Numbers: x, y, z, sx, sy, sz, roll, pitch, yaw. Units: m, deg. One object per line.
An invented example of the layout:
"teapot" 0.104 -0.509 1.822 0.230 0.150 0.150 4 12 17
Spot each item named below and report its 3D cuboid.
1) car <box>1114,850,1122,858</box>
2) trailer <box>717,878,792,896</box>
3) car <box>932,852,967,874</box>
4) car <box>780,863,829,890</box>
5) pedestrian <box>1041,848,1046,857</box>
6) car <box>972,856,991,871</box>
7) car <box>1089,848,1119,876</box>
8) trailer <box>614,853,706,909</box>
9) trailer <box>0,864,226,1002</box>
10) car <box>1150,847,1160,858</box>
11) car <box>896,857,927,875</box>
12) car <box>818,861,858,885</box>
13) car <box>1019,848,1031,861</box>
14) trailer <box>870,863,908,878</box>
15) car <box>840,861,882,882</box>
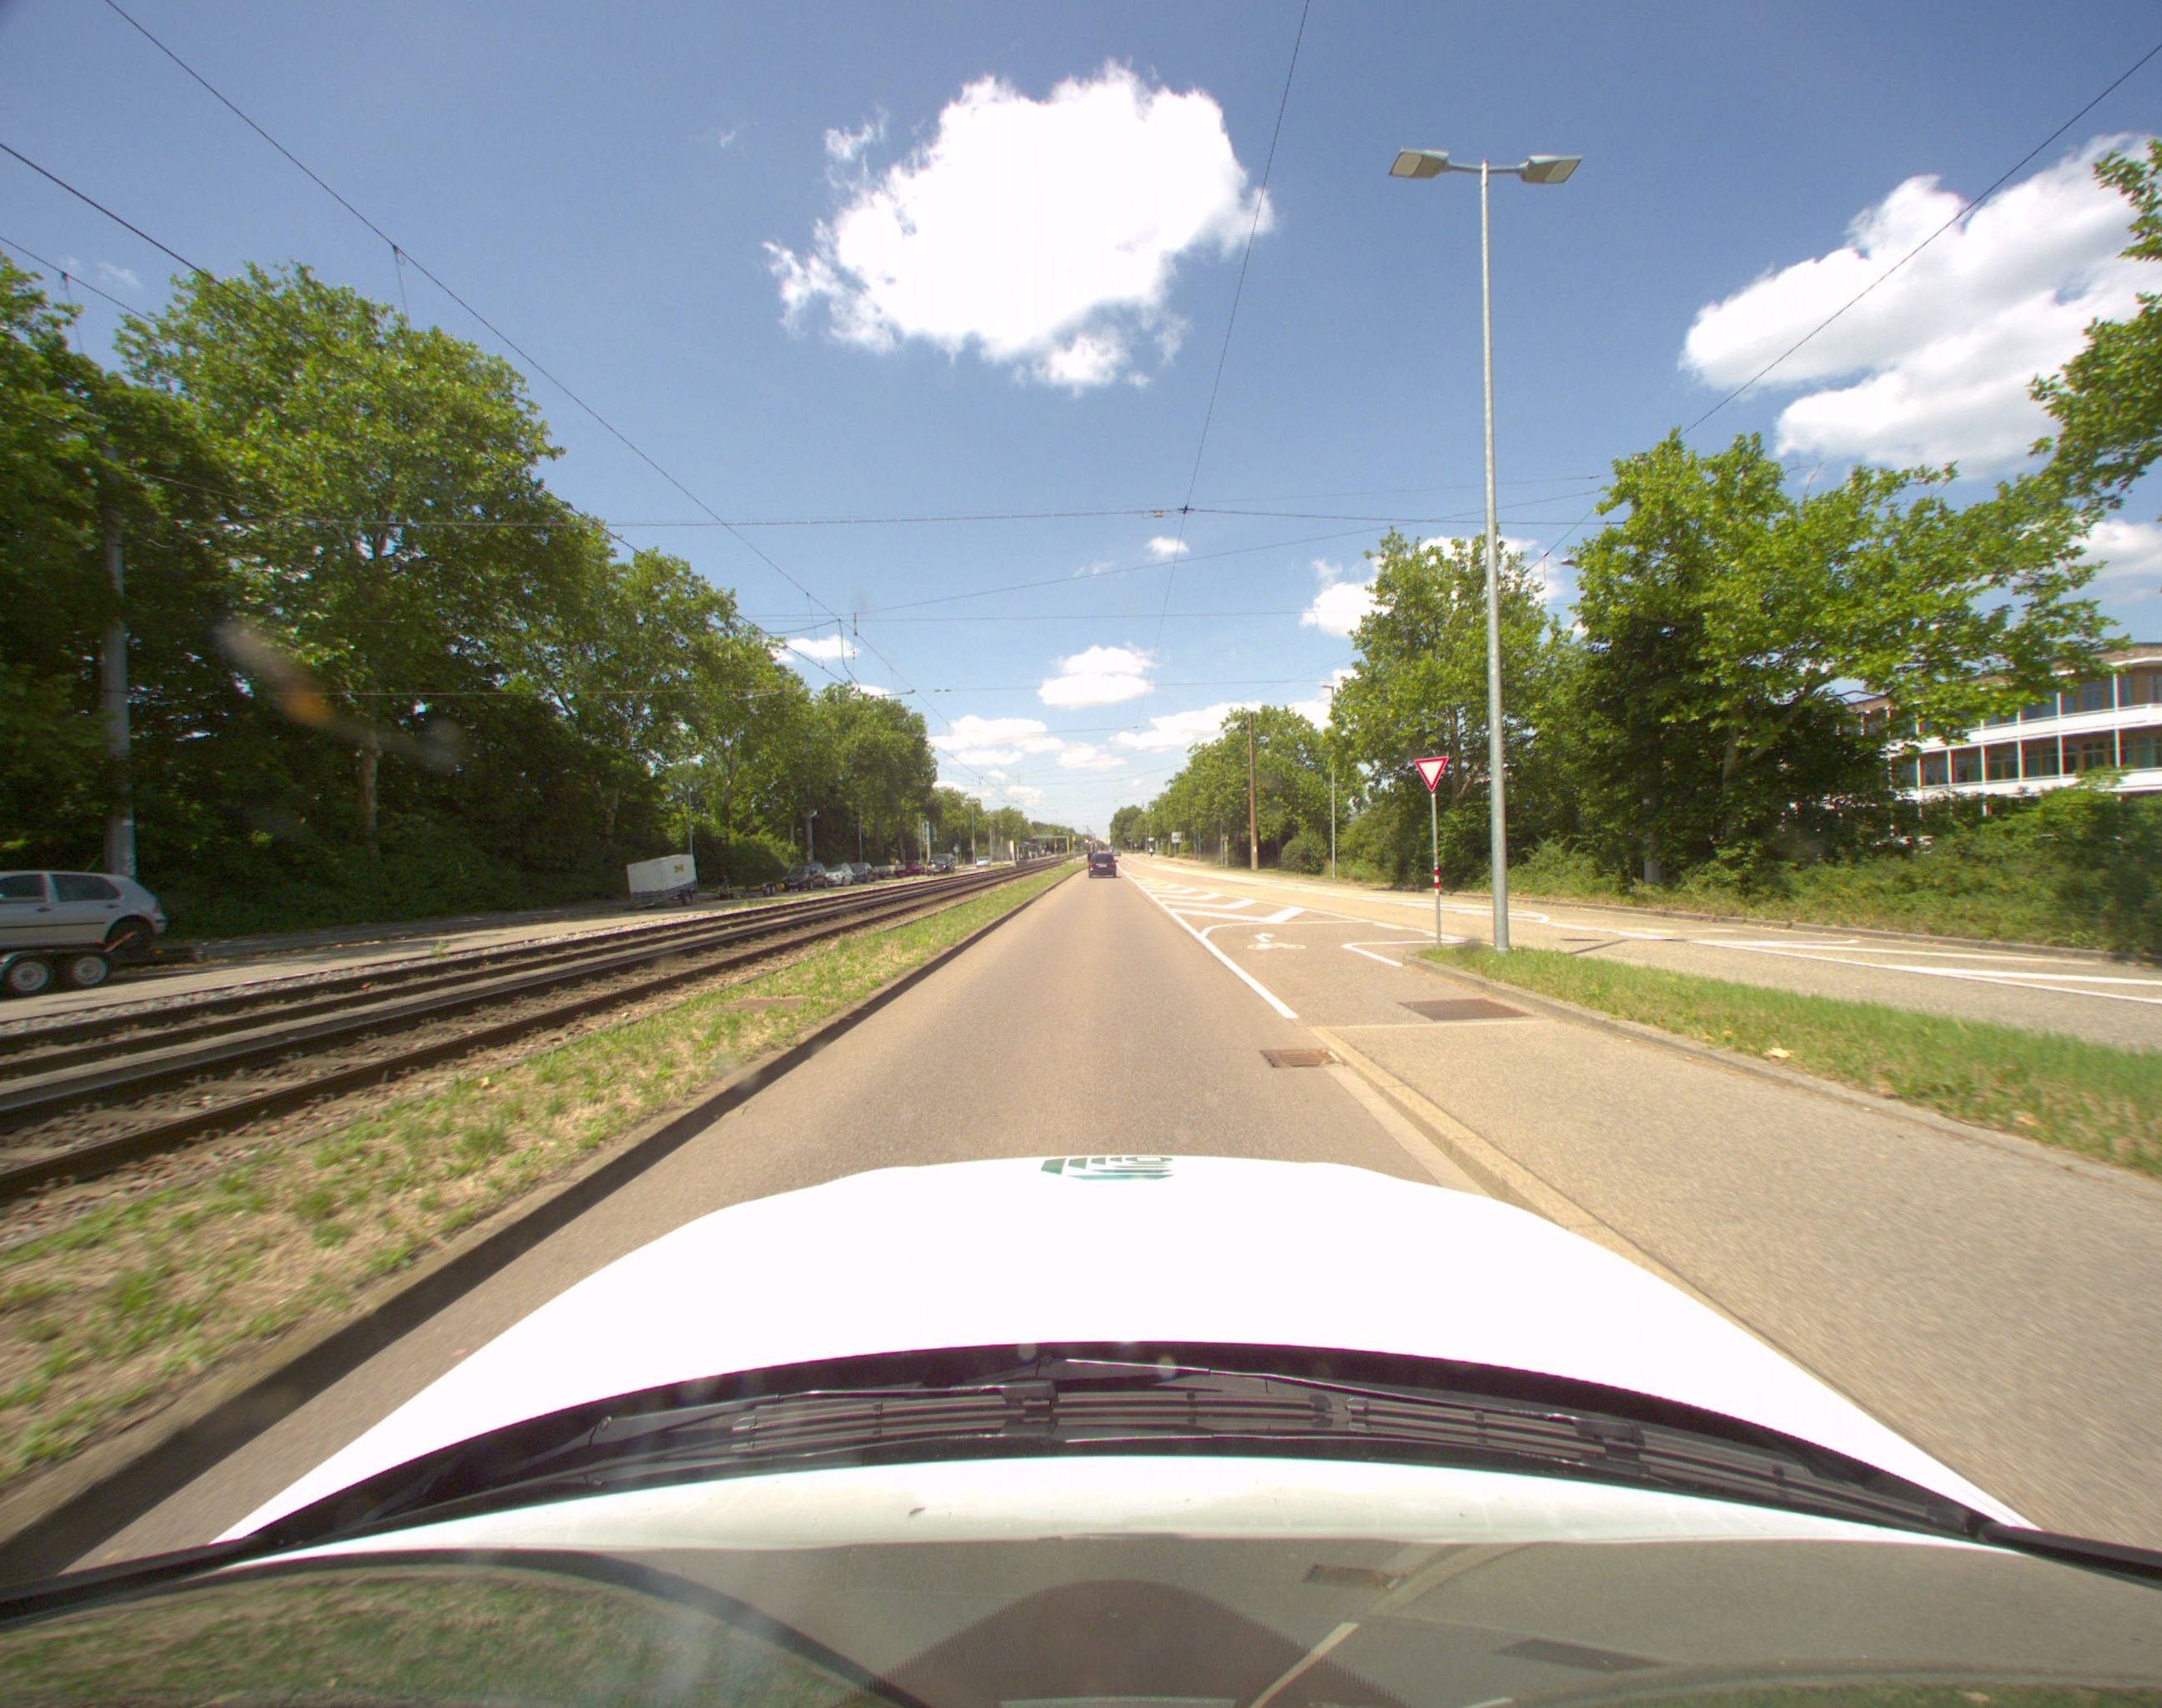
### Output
"car" 8.676 -0.074 190.479 1.877 1.639 4.003 2 1 2
"trailer" -16.185 1.606 40.586 1.986 0.742 4.001 -1 -1 1
"car" -11.517 0.736 71.778 2.109 1.790 5.406 -1 0 1
"car" -15.906 1.274 47.036 1.429 1.451 3.920 -1 0 0
"pedestrian" -7.912 -0.308 171.208 0.949 2.013 0.892 0 1 1
"car" -13.622 1.251 111.916 1.986 2.013 4.001 -1 0 1
"car" 1.511 0.456 52.031 1.846 1.570 4.392 -1 2 2
"trailer" -16.458 0.997 32.053 1.605 2.013 3.914 0 1 -1
"trailer" -16.485 1.158 11.595 2.456 1.889 5.956 -1 0 -3
"car" 14.538 -0.303 160.010 1.607 2.013 3.440 0 1 1
"car" -16.043 1.110 77.109 1.986 1.574 4.001 -1 0 1
"car" -15.823 1.237 53.176 1.429 1.451 3.740 -1 0 0
"car" -9.108 0.057 132.189 1.580 2.013 4.110 0 1 0
"trailer" -15.946 1.370 67.923 1.886 1.044 5.103 0 0 0
"car" -15.777 1.239 58.589 1.864 1.401 4.417 -1 0 0
